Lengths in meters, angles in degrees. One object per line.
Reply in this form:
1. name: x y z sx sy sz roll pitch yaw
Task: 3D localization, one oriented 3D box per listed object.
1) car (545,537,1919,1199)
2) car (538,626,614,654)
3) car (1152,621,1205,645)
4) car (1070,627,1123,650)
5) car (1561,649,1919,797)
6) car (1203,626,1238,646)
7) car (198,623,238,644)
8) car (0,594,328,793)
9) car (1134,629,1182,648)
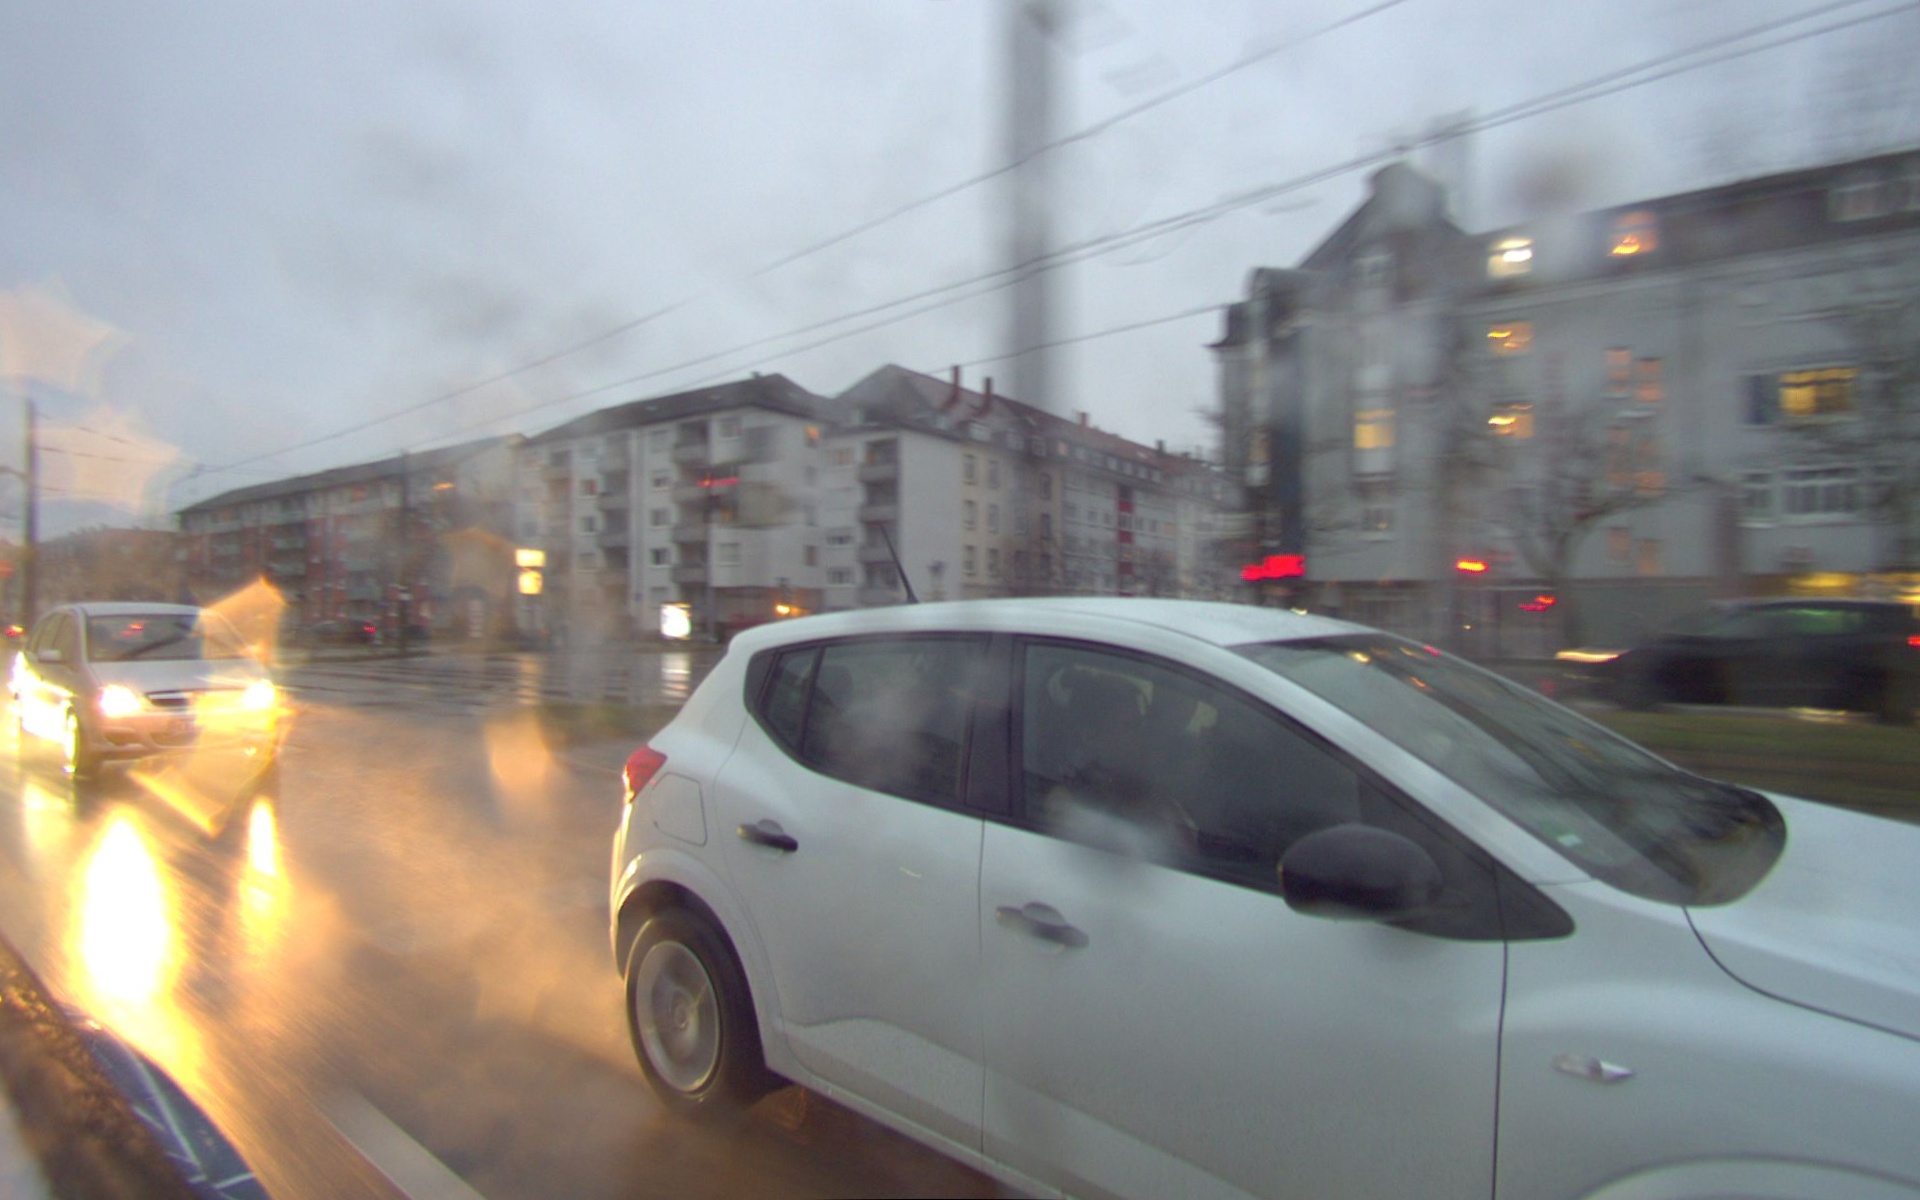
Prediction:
1. car: 0.773 0.656 2.547 3.996 1.477 1.691 0 0 40
2. car: -21.572 2.218 56.929 1.692 1.377 3.771 0 0 30
3. car: 18.096 2.701 83.920 3.991 1.813 1.557 0 0 36
4. car: 10.119 2.862 75.166 3.608 1.533 1.661 0 0 35
5. car: 10.788 1.604 14.193 3.990 1.618 1.790 0 0 34
6. car: 20.723 2.837 80.348 1.487 1.371 3.394 0 0 38
7. car: -63.770 2.878 86.922 4.145 1.658 1.708 0 0 38
8. car: -8.536 0.784 10.658 3.995 1.690 1.996 0 0 39
9. car: 16.083 3.123 82.269 3.507 1.456 1.428 0 0 36
